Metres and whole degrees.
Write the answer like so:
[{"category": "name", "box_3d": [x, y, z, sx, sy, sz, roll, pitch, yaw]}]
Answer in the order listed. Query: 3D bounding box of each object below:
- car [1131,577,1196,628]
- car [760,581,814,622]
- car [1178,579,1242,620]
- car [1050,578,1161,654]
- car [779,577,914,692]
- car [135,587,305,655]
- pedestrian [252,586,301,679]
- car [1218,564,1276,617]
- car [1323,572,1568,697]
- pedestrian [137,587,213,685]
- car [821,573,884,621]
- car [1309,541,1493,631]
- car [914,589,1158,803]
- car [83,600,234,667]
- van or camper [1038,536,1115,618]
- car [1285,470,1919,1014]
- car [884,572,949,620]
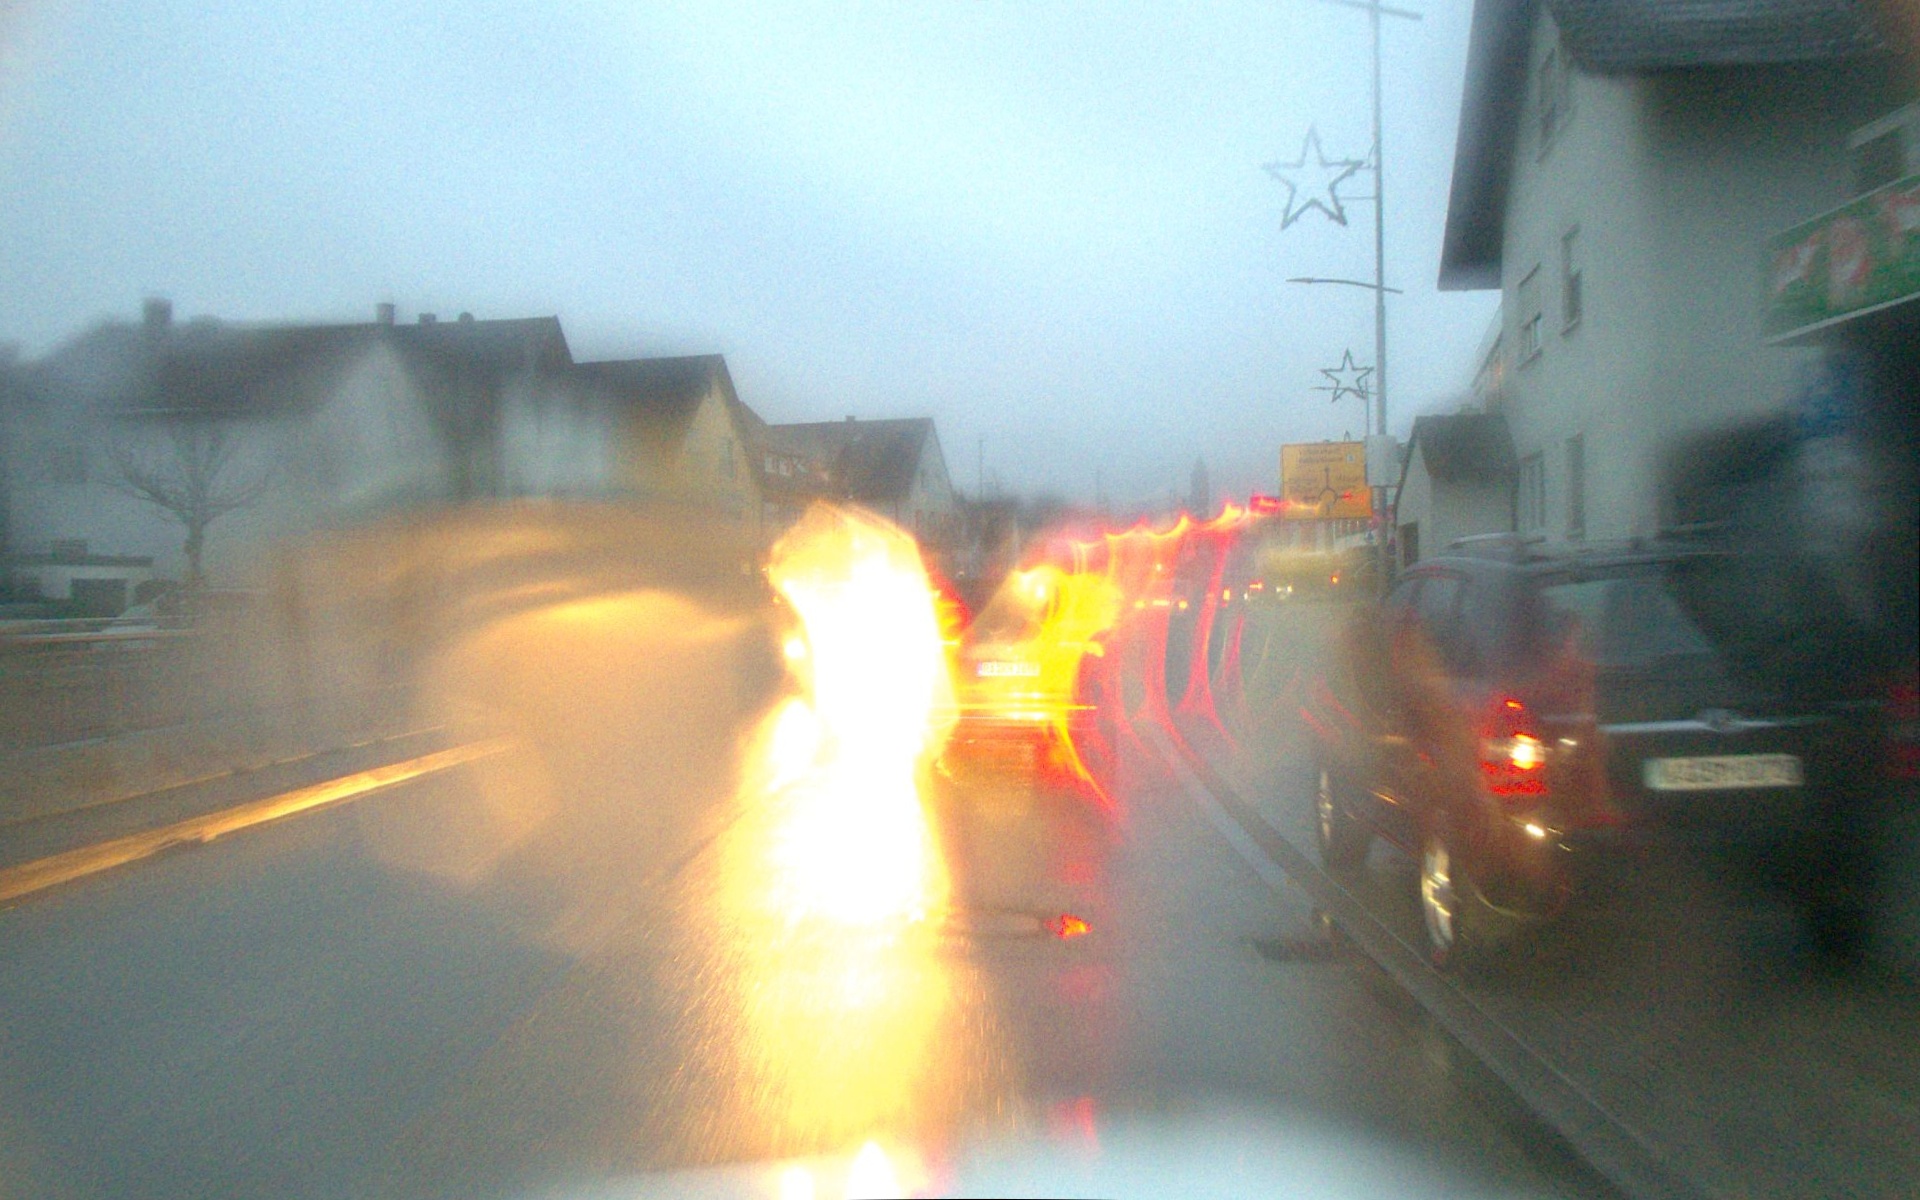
[{"category": "car", "box_3d": [6.182, 0.034, 50.017, 1.775, 1.436, 4.004, 0, 1, 9]}, {"category": "car", "box_3d": [-7.393, 0.036, 70.522, 1.790, 1.641, 4.043, -1, 1, -13]}, {"category": "car", "box_3d": [9.222, -0.027, 60.792, 1.951, 1.416, 4.004, -1, 1, 14]}, {"category": "car", "box_3d": [3.062, 0.327, 34.138, 1.646, 1.478, 4.003, 0, 0, 14]}, {"category": "car", "box_3d": [-1.699, 0.489, 25.832, 1.627, 1.664, 3.553, 0, 0, 4]}, {"category": "car", "box_3d": [-20.866, 0.573, 46.731, 3.903, 1.723, 1.866, -2, 1, 5]}, {"category": "pedestrian", "box_3d": [-12.765, 0.601, 30.892, 0.649, 1.727, 0.542, 0, 0, 9]}, {"category": "car", "box_3d": [12.252, -0.404, 70.868, 2.112, 2.025, 4.503, -4, 0, 7]}, {"category": "car", "box_3d": [6.269, 0.405, 21.810, 1.731, 1.418, 3.909, -3, 0, -5]}, {"category": "pedestrian", "box_3d": [-14.858, 0.666, 31.333, 0.908, 1.815, 0.974, 0, 0, 9]}, {"category": "car", "box_3d": [-4.580, -0.144, 70.031, 2.002, 1.959, 4.043, -1, 1, -13]}, {"category": "car", "box_3d": [11.047, -0.356, 41.672, 4.090, 1.666, 1.805, -8, 0, 6]}, {"category": "car", "box_3d": [0.541, 0.748, 15.251, 1.925, 1.622, 4.312, 0, 1, -2]}, {"category": "car", "box_3d": [-18.355, 0.732, 38.048, 1.451, 1.452, 3.462, -1, 0, 7]}, {"category": "van or camper", "box_3d": [4.253, -0.831, 59.452, 2.192, 2.715, 6.561, -1, 1, 9]}, {"category": "car", "box_3d": [2.718, 0.483, 7.788, 1.732, 1.813, 4.002, -4, 0, 4]}, {"category": "car", "box_3d": [-1.885, -0.191, 70.447, 2.002, 1.959, 4.043, -1, 1, -13]}]
